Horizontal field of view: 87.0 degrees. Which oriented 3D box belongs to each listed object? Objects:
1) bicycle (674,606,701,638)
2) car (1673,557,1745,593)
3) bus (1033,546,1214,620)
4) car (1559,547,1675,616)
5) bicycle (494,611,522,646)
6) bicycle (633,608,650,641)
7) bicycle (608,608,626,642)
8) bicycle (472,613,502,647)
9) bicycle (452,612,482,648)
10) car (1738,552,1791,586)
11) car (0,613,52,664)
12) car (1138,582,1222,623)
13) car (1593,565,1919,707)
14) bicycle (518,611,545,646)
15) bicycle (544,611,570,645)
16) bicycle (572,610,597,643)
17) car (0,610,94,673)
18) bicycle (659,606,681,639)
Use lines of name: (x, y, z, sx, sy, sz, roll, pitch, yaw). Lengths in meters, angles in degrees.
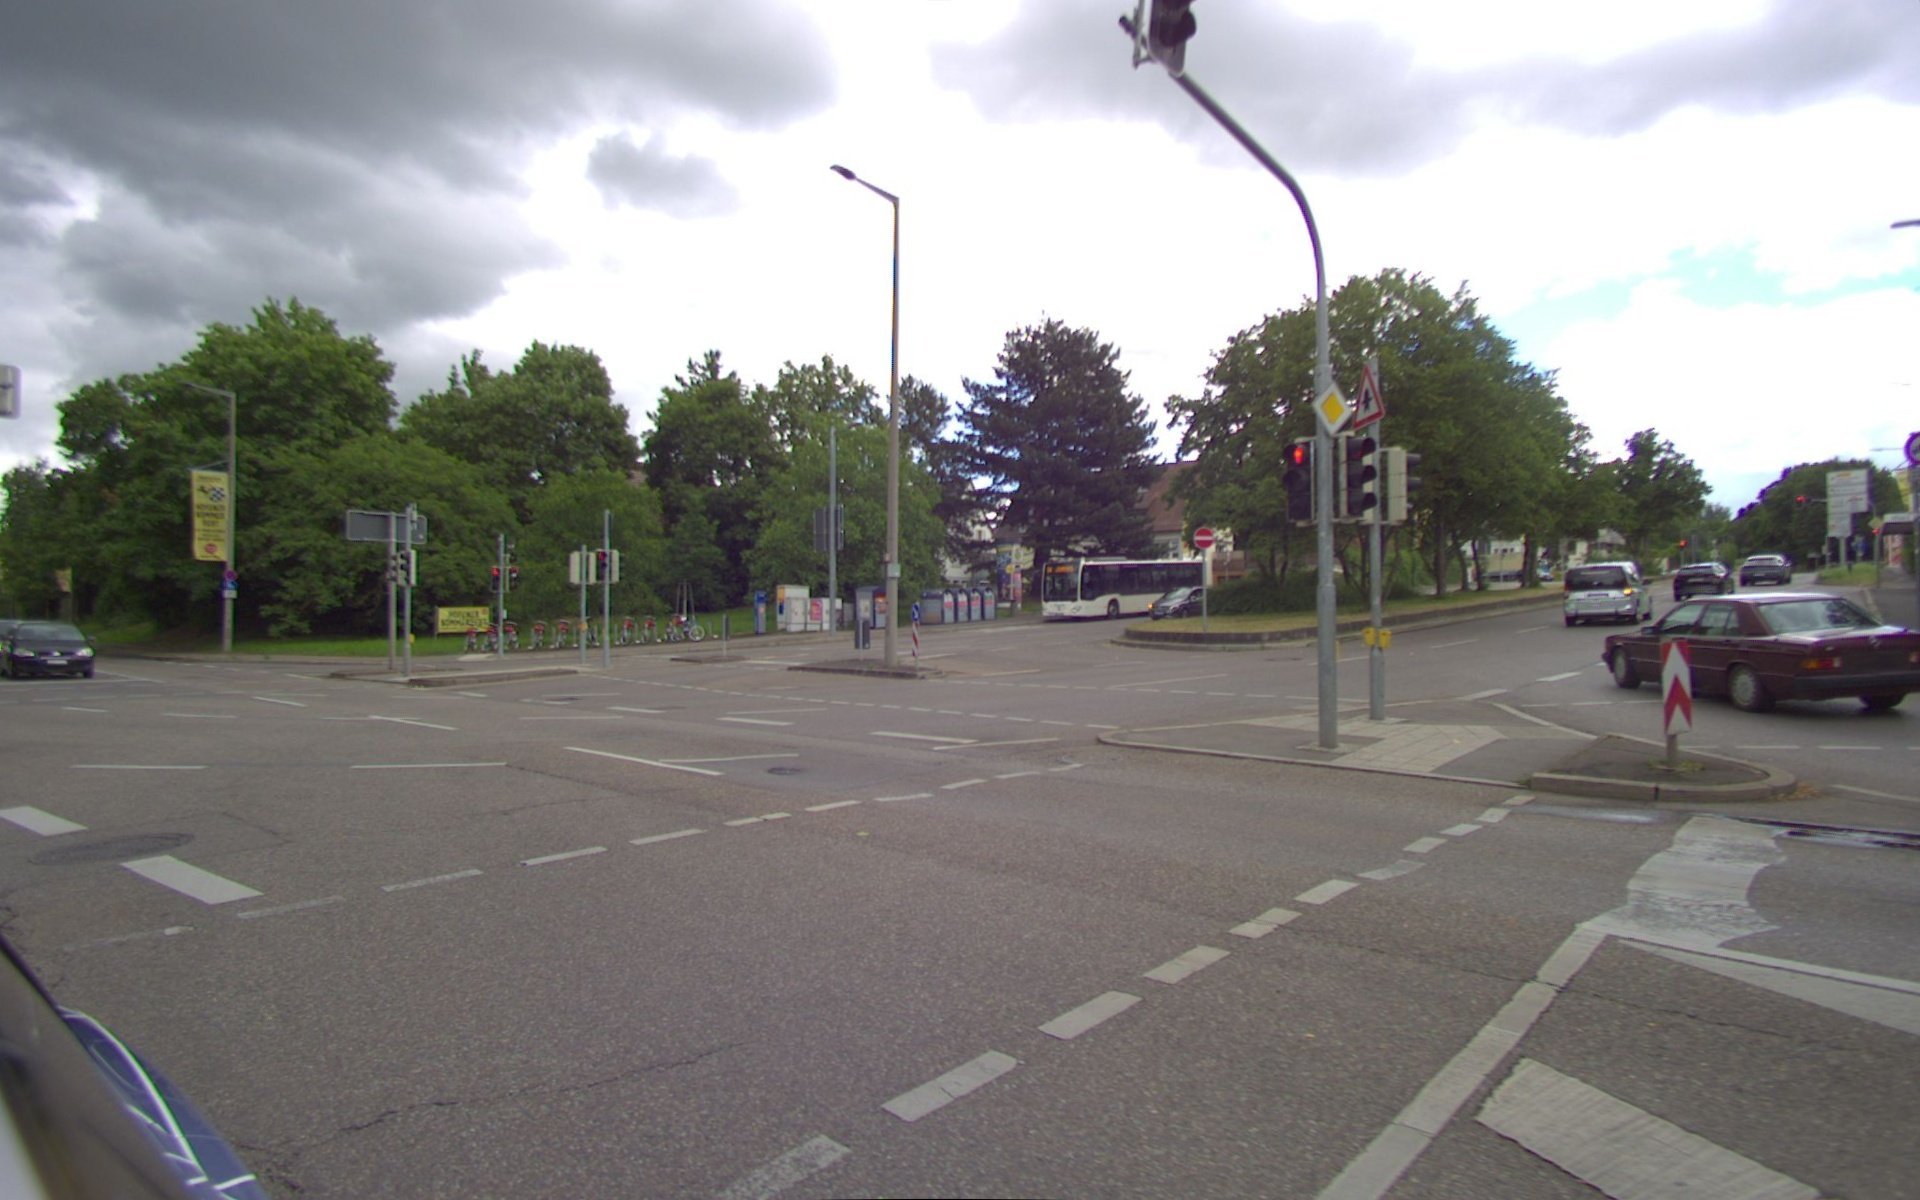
bicycle: (-11.180, 0.873, 41.514, 0.536, 1.262, 1.941, -1, 0, -31)
car: (32.137, -1.046, 43.354, 1.949, 1.434, 4.477, -1, -1, 43)
bus: (8.850, -1.029, 52.970, 2.681, 3.186, 12.171, -1, 3, 45)
car: (19.629, -0.510, 30.160, 4.474, 1.888, 1.950, -1, -1, -44)
bicycle: (-17.402, 1.092, 39.002, 0.537, 1.262, 1.940, -1, 0, -11)
bicycle: (-12.774, 0.968, 40.627, 0.536, 1.262, 1.941, -1, 0, -15)
bicycle: (-13.613, 0.971, 40.223, 0.536, 1.262, 1.941, -1, 0, -15)
bicycle: (-18.074, 1.130, 38.688, 0.537, 1.262, 1.940, -1, 0, -11)
bicycle: (-18.721, 1.118, 38.457, 0.537, 1.262, 1.940, -1, 0, -11)
car: (45.911, -1.742, 57.733, 1.950, 1.825, 4.379, -1, -1, 44)
car: (-29.163, 1.156, 31.071, 3.930, 1.479, 1.574, -1, -3, 44)
car: (10.670, 0.081, 48.875, 1.999, 1.867, 4.683, -1, 1, 40)
car: (10.153, 0.347, 12.783, 1.724, 1.475, 4.339, -1, 1, 3)
bicycle: (-16.501, 1.095, 39.011, 0.537, 1.262, 1.940, -1, 0, -11)
bicycle: (-15.634, 1.075, 39.297, 0.537, 1.262, 1.940, -1, 0, -11)
bicycle: (-14.748, 1.017, 39.707, 0.536, 1.262, 1.941, -1, 0, -31)
car: (-23.413, 1.026, 25.819, 3.807, 1.478, 1.539, -1, -2, 42)
bicycle: (-11.810, 0.907, 41.199, 0.536, 1.262, 1.942, -1, 0, -25)
